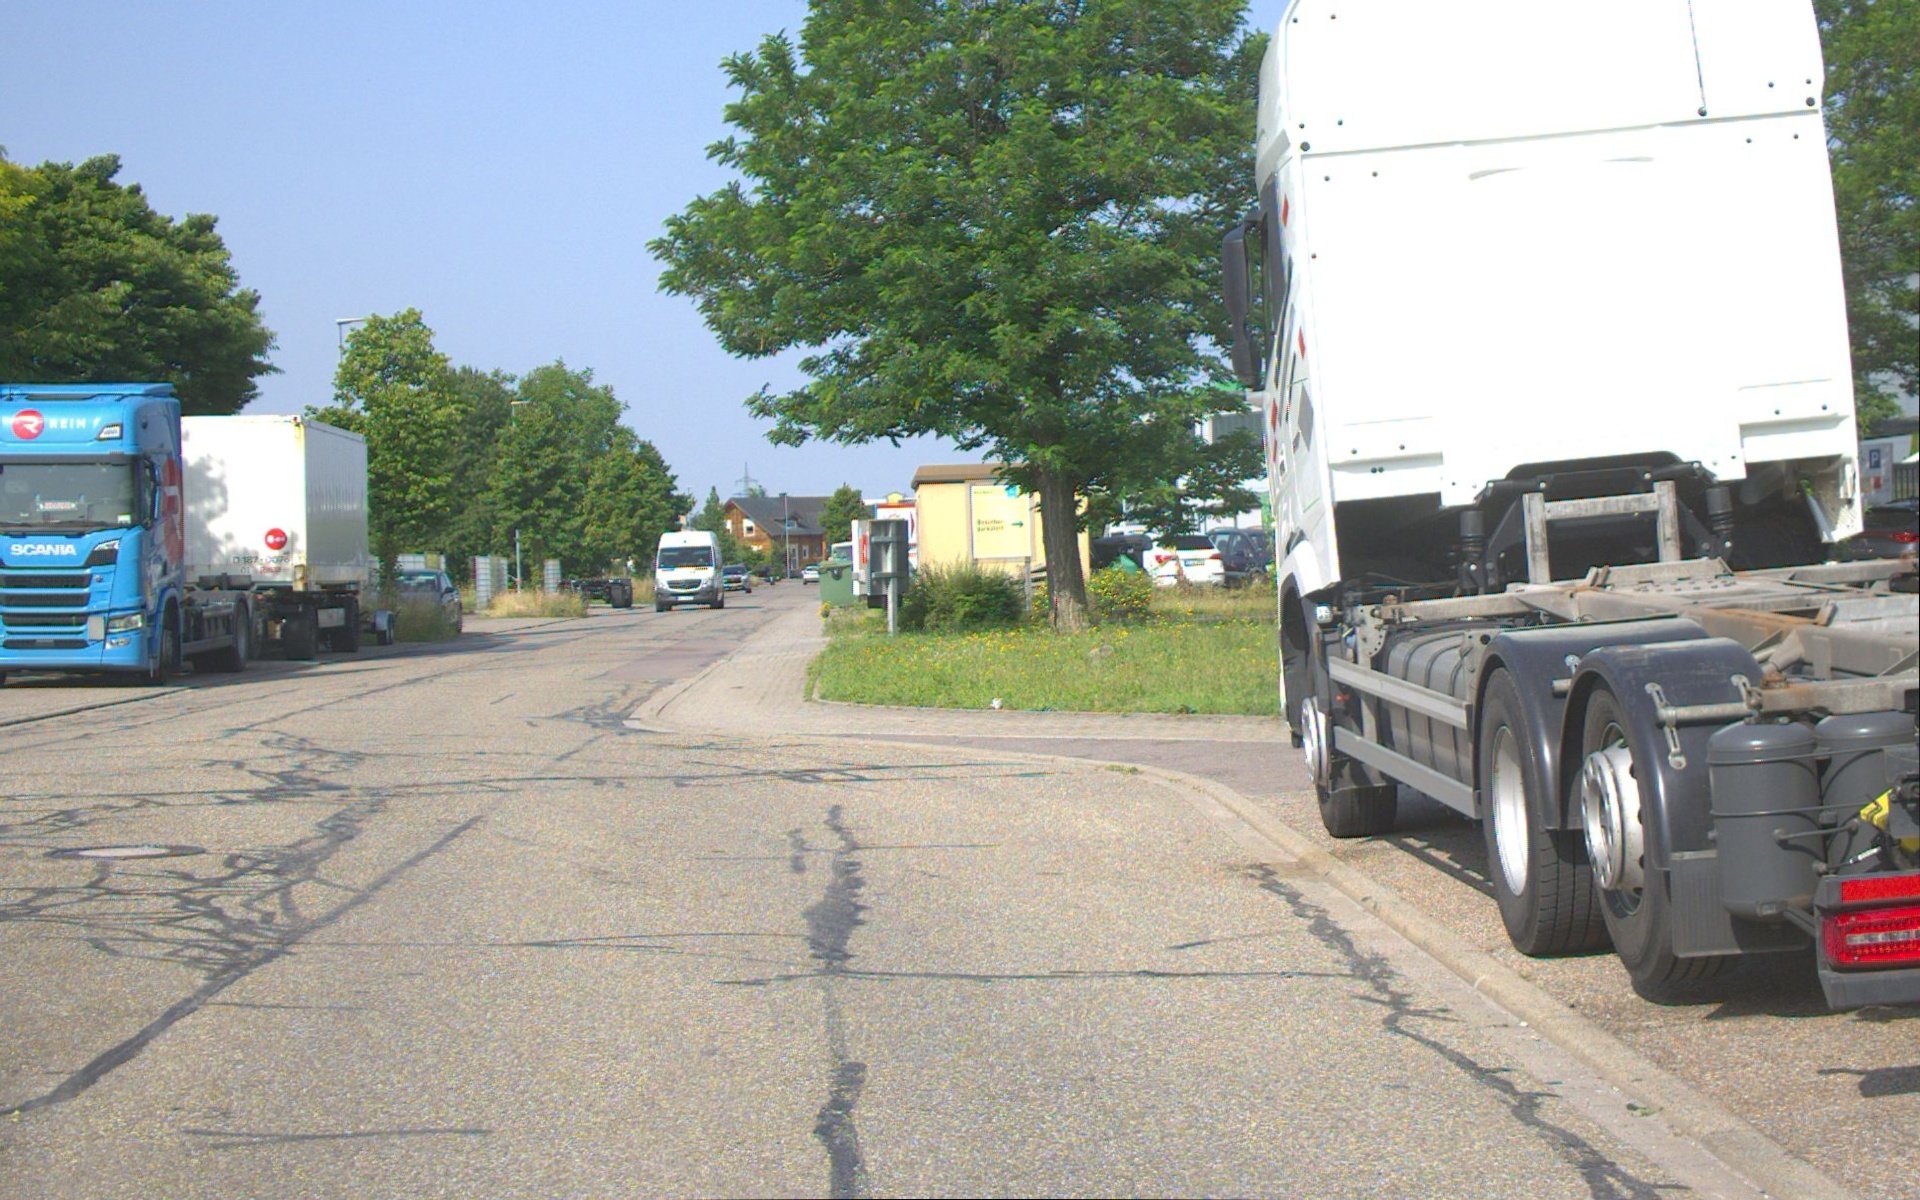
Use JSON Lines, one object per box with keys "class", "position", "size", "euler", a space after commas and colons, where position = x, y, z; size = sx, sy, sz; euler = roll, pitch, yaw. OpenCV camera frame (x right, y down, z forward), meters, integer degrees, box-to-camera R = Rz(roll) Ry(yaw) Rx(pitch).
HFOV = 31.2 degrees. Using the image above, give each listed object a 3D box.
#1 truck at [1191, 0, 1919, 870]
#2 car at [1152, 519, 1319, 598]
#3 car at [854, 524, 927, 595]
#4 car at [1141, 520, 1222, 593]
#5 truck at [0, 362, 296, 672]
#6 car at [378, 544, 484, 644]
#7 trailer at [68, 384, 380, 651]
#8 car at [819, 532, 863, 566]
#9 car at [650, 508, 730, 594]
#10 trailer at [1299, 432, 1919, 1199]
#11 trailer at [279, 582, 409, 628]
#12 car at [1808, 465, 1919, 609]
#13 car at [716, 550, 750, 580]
{"class": "truck", "position": [2.796, -0.987, 16.342], "size": [2.746, 3.968, 4.000], "euler": [-4, 1, -1]}
{"class": "car", "position": [4.820, -0.708, 60.588], "size": [1.667, 1.325, 3.664], "euler": [0, 0, -18]}
{"class": "car", "position": [-1.798, -1.012, 87.858], "size": [1.792, 1.744, 4.000], "euler": [0, 0, -2]}
{"class": "car", "position": [5.086, -0.983, 79.269], "size": [1.717, 1.612, 4.000], "euler": [0, 0, 2]}
{"class": "truck", "position": [-11.296, -1.014, 47.094], "size": [2.825, 3.813, 9.673], "euler": [0, 0, -2]}
{"class": "car", "position": [-11.254, -0.153, 73.024], "size": [1.993, 2.007, 4.001], "euler": [-2, 1, -11]}
{"class": "trailer", "position": [-11.583, -1.171, 55.364], "size": [2.831, 3.830, 12.037], "euler": [0, 0, -2]}
{"class": "car", "position": [-6.584, -2.794, 189.634], "size": [1.770, 1.809, 4.001], "euler": [0, 0, -11]}
{"class": "car", "position": [-8.818, -1.560, 111.878], "size": [2.214, 2.677, 6.854], "euler": [0, 0, -8]}
{"class": "trailer", "position": [3.129, 0.365, 7.302], "size": [2.746, 1.568, 16.173], "euler": [-4, 1, -1]}
{"class": "trailer", "position": [-11.681, 0.084, 65.377], "size": [1.896, 0.758, 4.000], "euler": [-2, 1, -2]}
{"class": "car", "position": [12.962, -0.765, 43.783], "size": [3.987, 1.761, 2.000], "euler": [0, 0, -32]}
{"class": "car", "position": [-12.788, -1.967, 193.790], "size": [1.639, 1.656, 4.001], "euler": [0, 0, -8]}
